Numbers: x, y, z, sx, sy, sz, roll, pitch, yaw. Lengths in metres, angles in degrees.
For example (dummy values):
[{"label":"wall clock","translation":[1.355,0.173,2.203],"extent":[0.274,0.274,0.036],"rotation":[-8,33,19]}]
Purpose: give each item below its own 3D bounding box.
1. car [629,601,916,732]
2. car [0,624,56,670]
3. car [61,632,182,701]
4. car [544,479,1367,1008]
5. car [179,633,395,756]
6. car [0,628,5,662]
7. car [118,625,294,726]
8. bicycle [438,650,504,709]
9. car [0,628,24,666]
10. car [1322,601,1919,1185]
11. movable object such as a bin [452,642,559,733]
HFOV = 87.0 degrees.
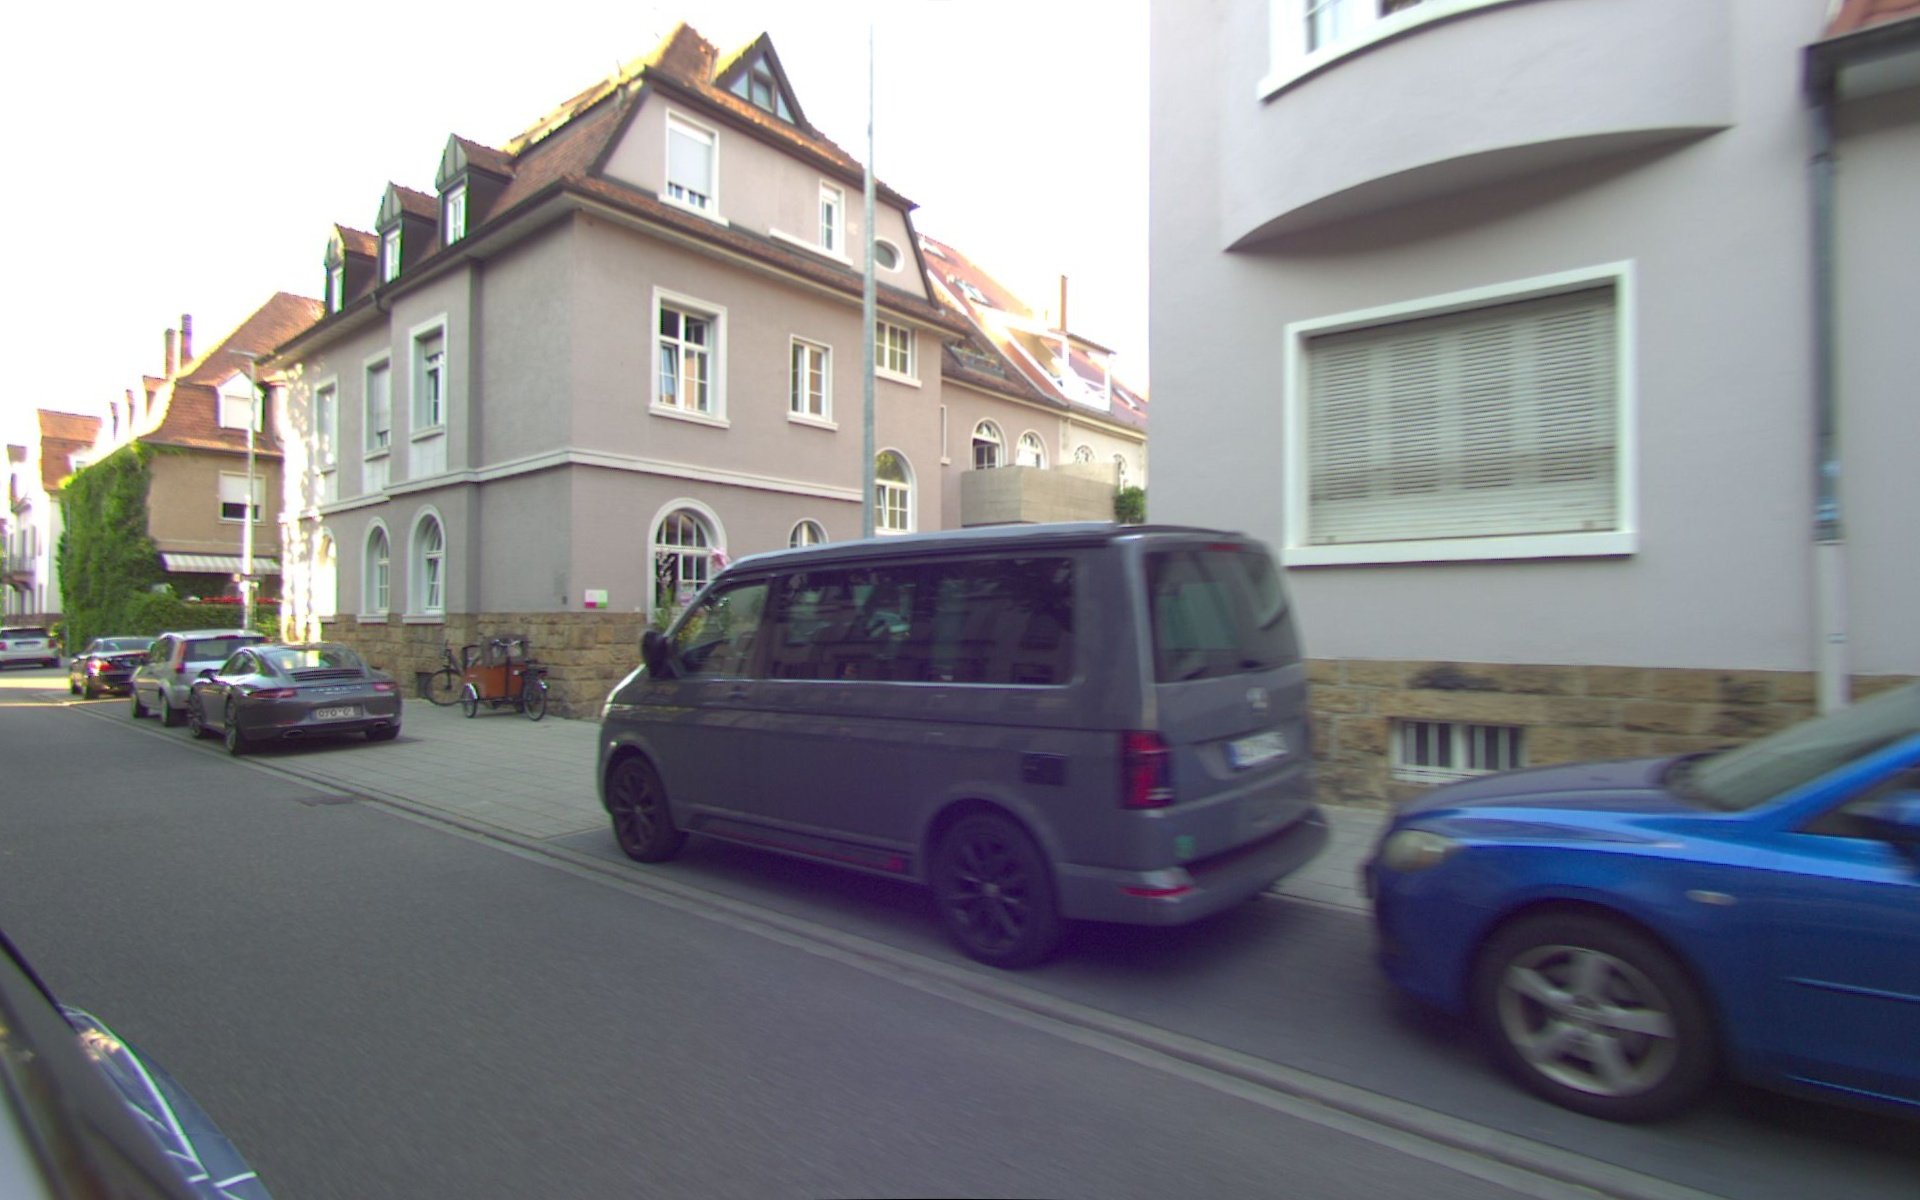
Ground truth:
[{"label":"car","translation":[-2.599,0.870,14.714],"extent":[1.894,1.634,3.827],"rotation":[-2,-2,37]},{"label":"car","translation":[-32.190,1.577,34.513],"extent":[3.917,1.471,1.685],"rotation":[-2,-1,43]},{"label":"car","translation":[-18.934,1.421,22.799],"extent":[4.046,1.334,1.635],"rotation":[-1,0,44]},{"label":"car","translation":[-0.371,0.578,6.094],"extent":[4.848,1.962,1.962],"rotation":[-2,-1,41]},{"label":"car","translation":[-9.004,1.140,13.381],"extent":[4.228,1.329,1.514],"rotation":[-2,-2,44]},{"label":"car","translation":[-41.871,1.920,42.924],"extent":[4.097,1.431,1.632],"rotation":[-2,-1,42]},{"label":"car","translation":[-12.708,1.179,16.965],"extent":[3.959,1.456,1.636],"rotation":[-2,-1,42]},{"label":"bicycle","translation":[-8.354,1.330,17.253],"extent":[1.721,0.944,0.389],"rotation":[-2,-2,42]},{"label":"car","translation":[-37.465,1.817,39.029],"extent":[3.719,1.390,1.669],"rotation":[-2,-1,42]},{"label":"car","translation":[3.417,0.734,2.789],"extent":[4.236,1.458,1.636],"rotation":[-2,0,42]},{"label":"movable object such as a bin","translation":[-7.049,1.314,15.639],"extent":[2.095,1.293,0.714],"rotation":[-2,-2,42]}]
